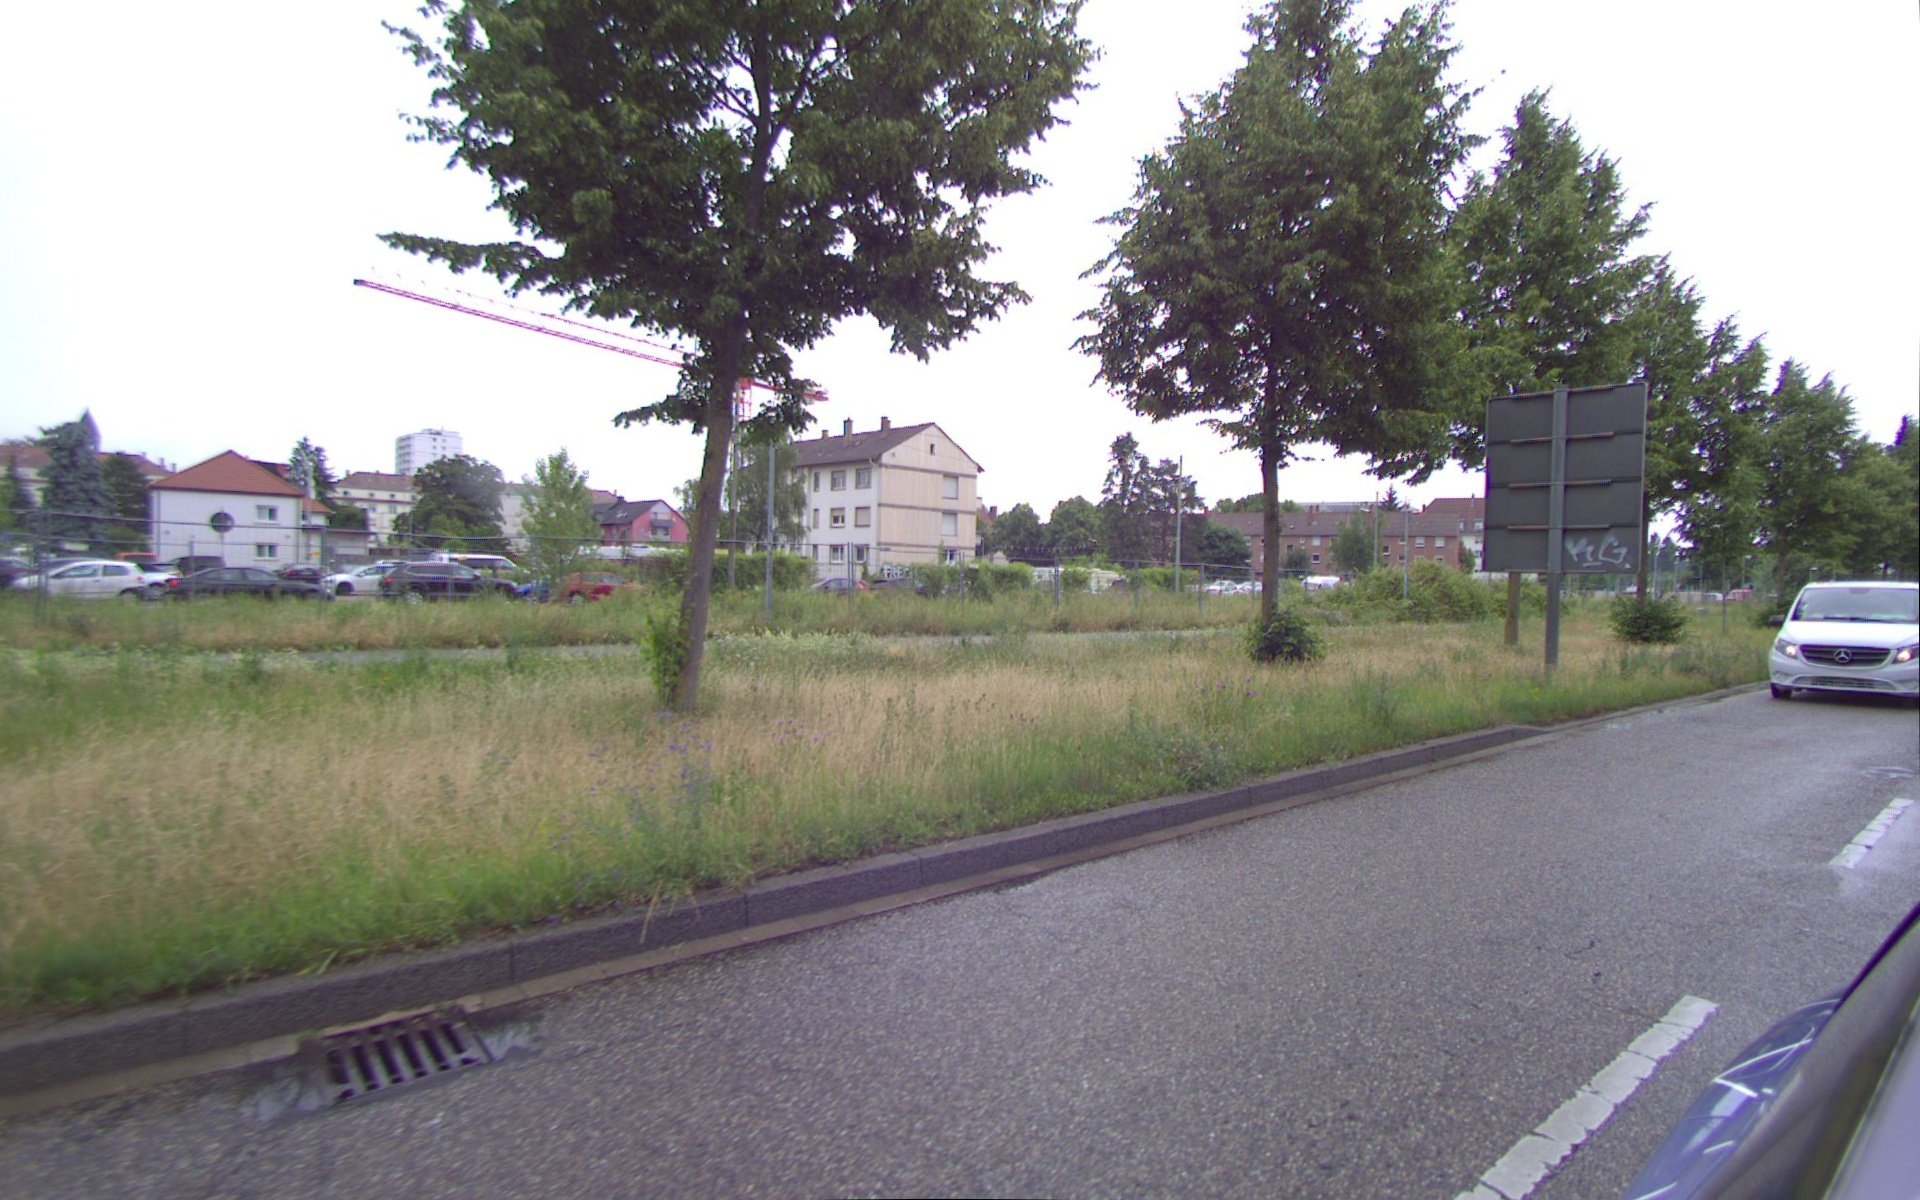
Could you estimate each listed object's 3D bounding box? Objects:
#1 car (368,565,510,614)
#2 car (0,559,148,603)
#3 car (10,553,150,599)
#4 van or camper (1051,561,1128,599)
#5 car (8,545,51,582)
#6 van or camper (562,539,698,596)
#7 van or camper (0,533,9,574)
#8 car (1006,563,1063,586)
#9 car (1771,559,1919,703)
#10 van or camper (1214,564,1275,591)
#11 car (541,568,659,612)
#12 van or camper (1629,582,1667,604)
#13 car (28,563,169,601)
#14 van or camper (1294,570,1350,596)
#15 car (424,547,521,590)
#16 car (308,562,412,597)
[{"bbox_3d":[-18.129,-0.383,35.269,4.153,1.621,1.861,0,1,-36],"label":"car"},{"bbox_3d":[-31.449,-0.663,36.006,3.961,1.464,1.699,0,1,-41],"label":"car"},{"bbox_3d":[-34.723,-0.926,40.082,3.954,1.733,1.702,0,1,-34],"label":"car"},{"bbox_3d":[9.779,-1.519,76.249,6.290,2.722,2.311,0,2,-44],"label":"van or camper"},{"bbox_3d":[-75.090,-2.893,81.738,2.187,2.817,4.500,0,0,-39],"label":"car"},{"bbox_3d":[-18.428,-1.755,56.779,6.659,3.031,2.912,0,1,-41],"label":"van or camper"},{"bbox_3d":[-62.908,-2.979,64.986,2.054,2.616,5.629,0,1,-37],"label":"van or camper"},{"bbox_3d":[6.593,-2.227,88.785,2.164,1.918,5.122,2,2,45],"label":"car"},{"bbox_3d":[14.806,0.382,16.252,5.004,2.004,1.970,-1,2,-42],"label":"car"},{"bbox_3d":[26.031,-1.991,92.473,6.538,2.336,2.504,0,0,-44],"label":"van or camper"},{"bbox_3d":[-14.005,-0.408,39.451,3.930,1.621,1.858,0,1,-41],"label":"car"},{"bbox_3d":[96.946,-0.929,142.541,5.400,3.073,2.349,0,0,-30],"label":"van or camper"},{"bbox_3d":[-32.371,-0.675,38.182,3.958,1.369,1.701,0,1,-38],"label":"car"},{"bbox_3d":[36.608,-1.674,102.238,6.313,2.568,2.778,0,0,-44],"label":"van or camper"},{"bbox_3d":[-24.488,-1.555,50.911,4.091,2.030,1.699,0,2,-41],"label":"car"},{"bbox_3d":[-28.046,-0.948,47.362,3.961,1.601,1.699,0,1,-41],"label":"car"}]
